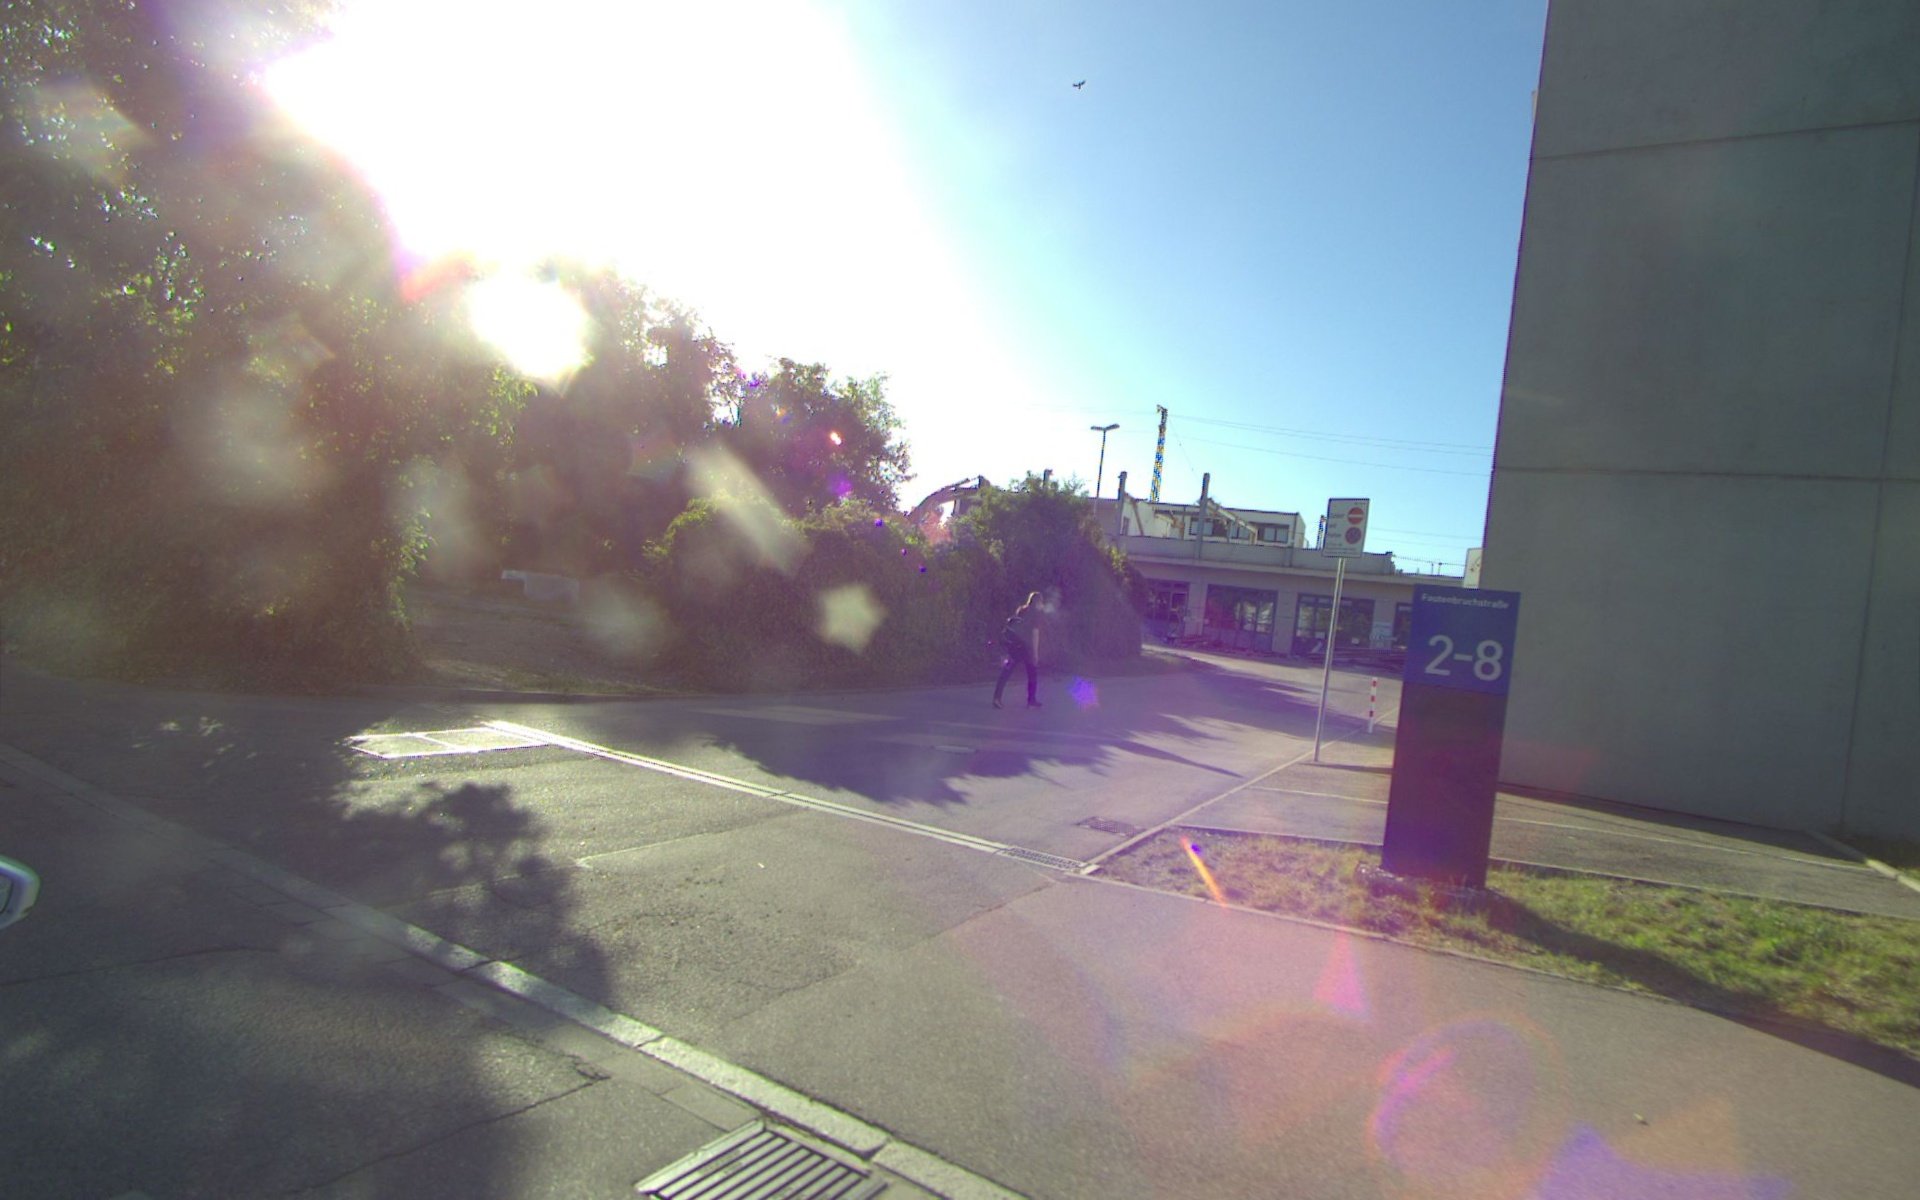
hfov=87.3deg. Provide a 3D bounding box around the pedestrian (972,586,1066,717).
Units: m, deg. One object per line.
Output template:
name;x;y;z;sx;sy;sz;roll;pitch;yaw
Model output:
pedestrian;0.896;0.748;15.090;0.880;1.816;1.153;7;3;26

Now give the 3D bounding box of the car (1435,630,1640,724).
car;14.557;1.897;25.605;4.240;1.802;1.872;5;0;28
